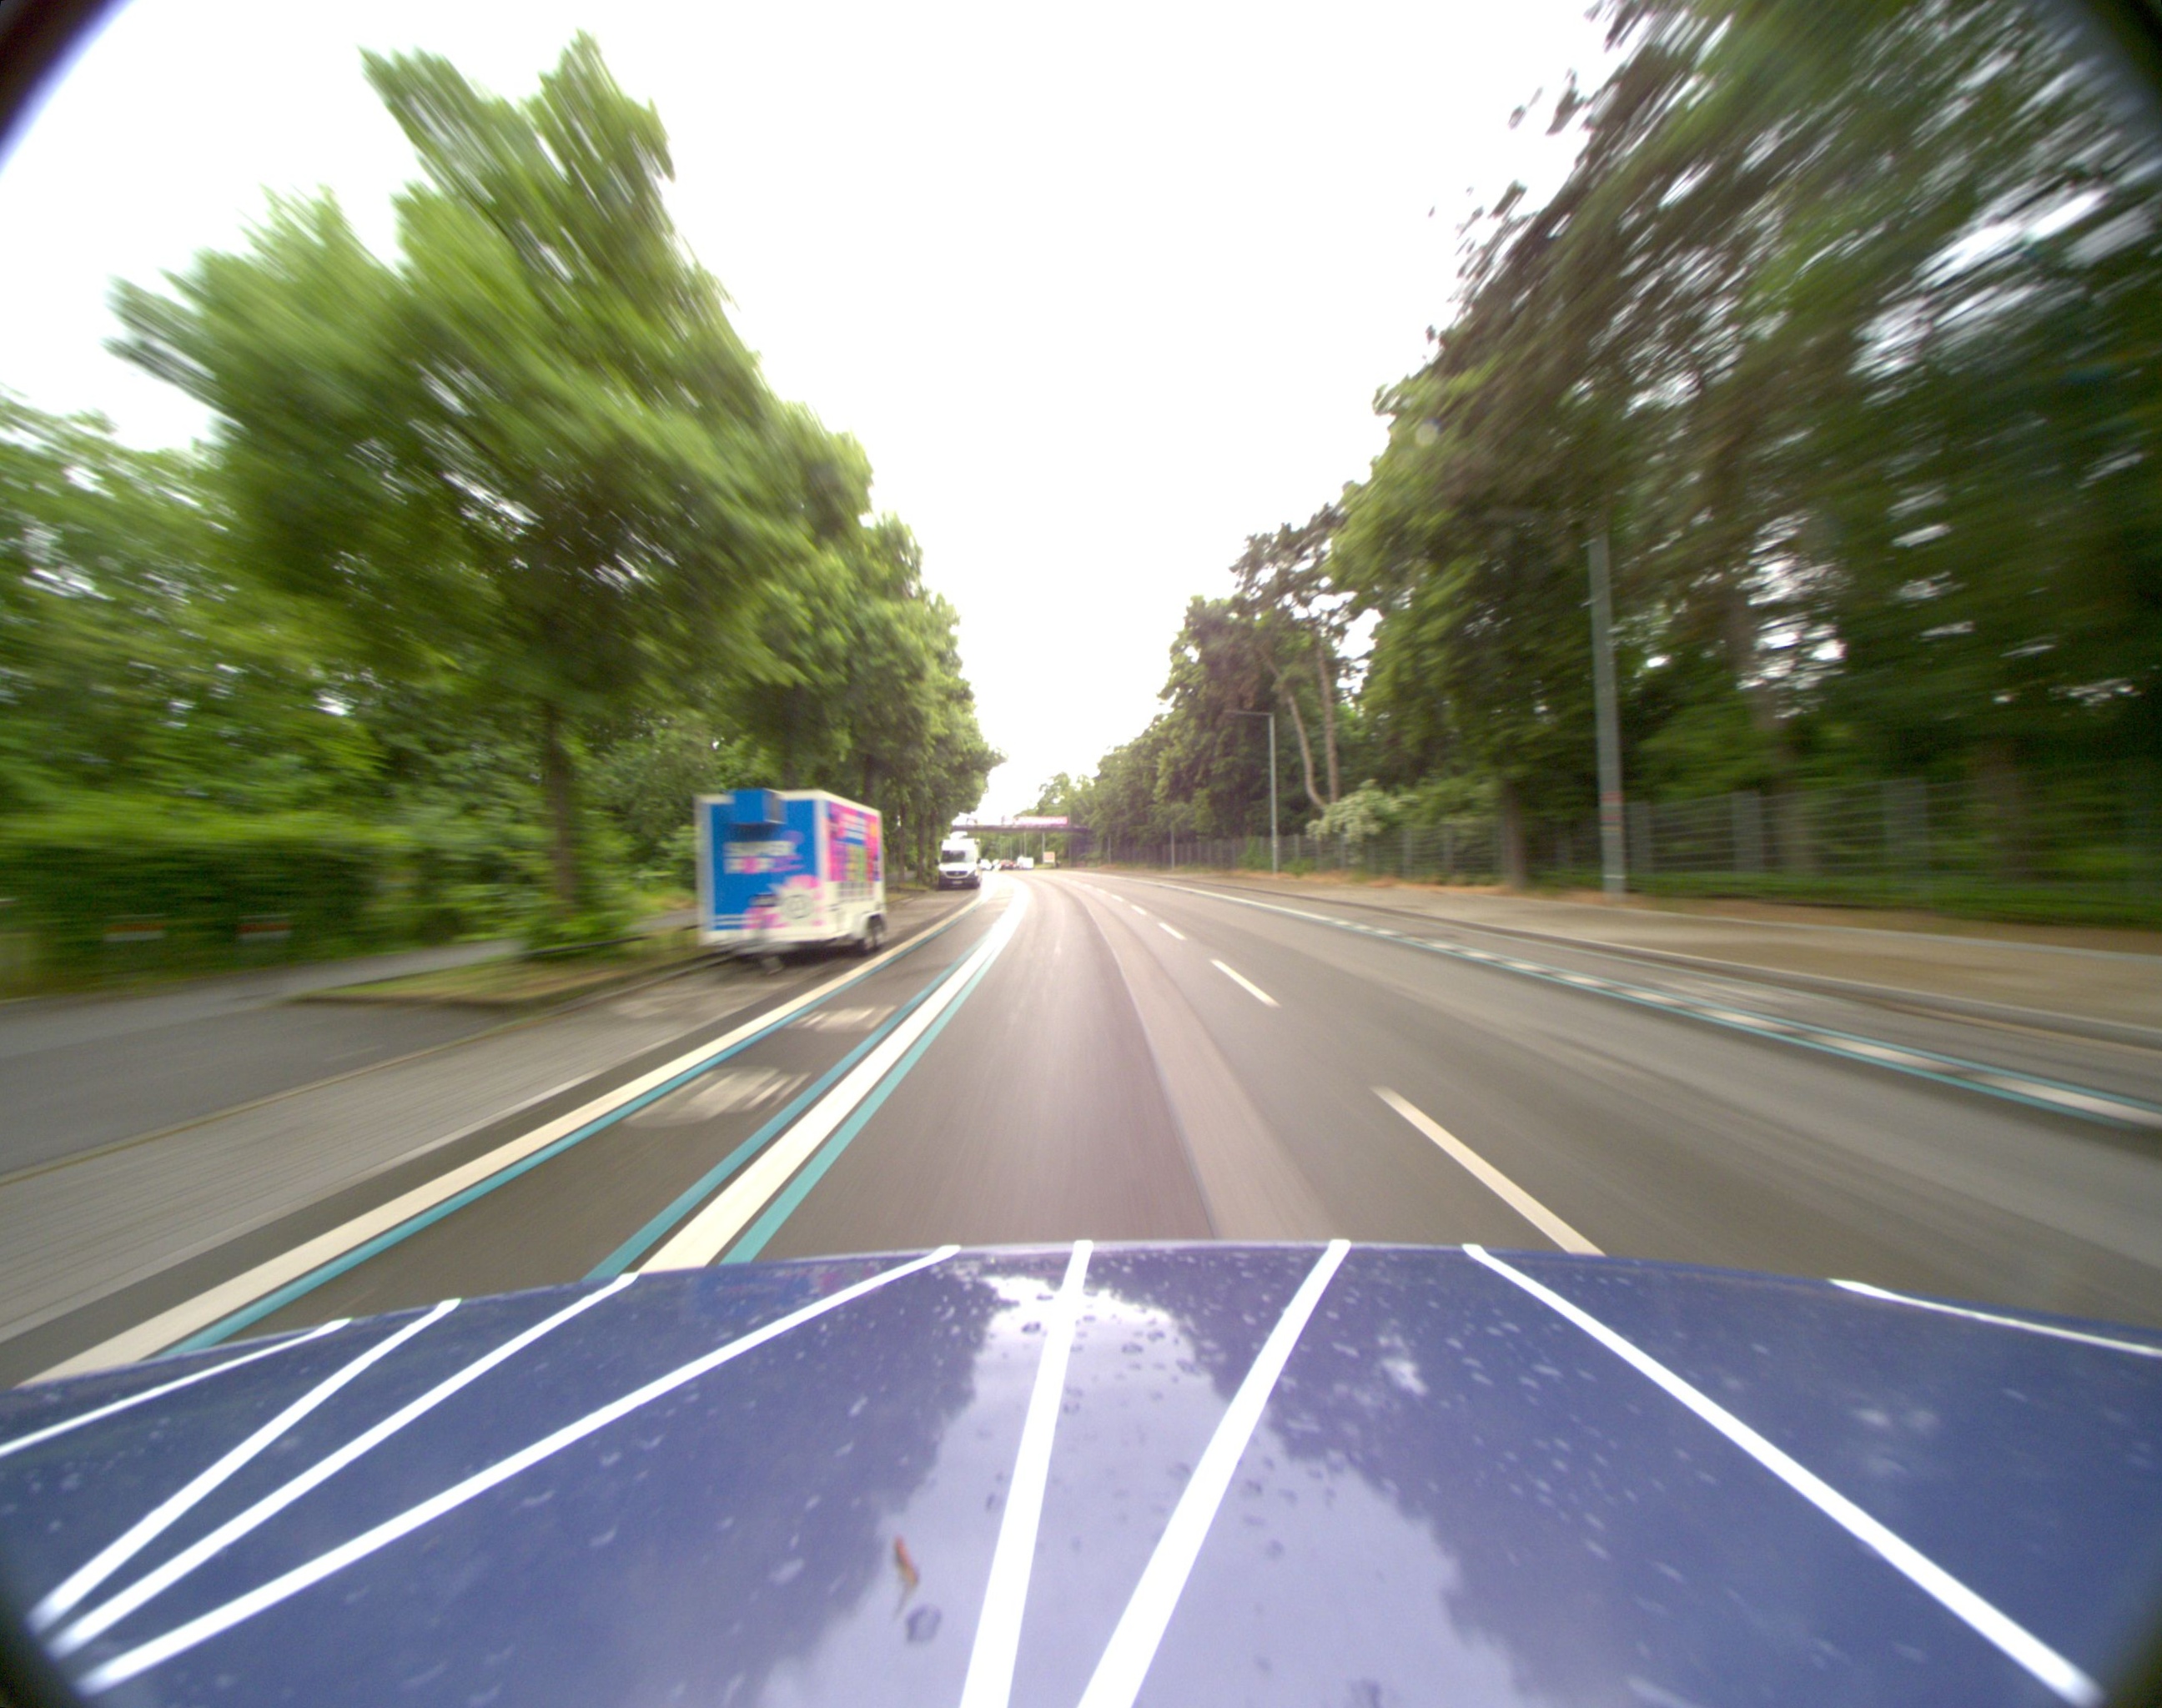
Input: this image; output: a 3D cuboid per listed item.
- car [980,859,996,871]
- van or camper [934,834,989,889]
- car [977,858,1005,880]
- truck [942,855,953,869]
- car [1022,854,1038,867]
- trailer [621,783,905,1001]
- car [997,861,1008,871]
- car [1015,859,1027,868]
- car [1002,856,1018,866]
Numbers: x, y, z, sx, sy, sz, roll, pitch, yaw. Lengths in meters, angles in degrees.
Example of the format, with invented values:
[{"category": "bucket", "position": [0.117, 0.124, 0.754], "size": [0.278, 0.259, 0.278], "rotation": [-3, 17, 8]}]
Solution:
[{"category": "car", "position": [-12.931, 1.537, 105.843], "size": [1.830, 1.453, 3.879], "rotation": [-3, -1, -12]}, {"category": "van or camper", "position": [-6.369, 0.372, 41.256], "size": [2.323, 2.649, 6.379], "rotation": [-2, 0, -4]}, {"category": "car", "position": [-6.291, 1.025, 52.875], "size": [1.684, 1.368, 3.996], "rotation": [-2, 1, -10]}, {"category": "truck", "position": [-22.635, 1.349, 128.749], "size": [1.725, 2.319, 3.997], "rotation": [-2, -1, -12]}, {"category": "car", "position": [-8.164, 1.096, 121.652], "size": [1.985, 1.902, 5.224], "rotation": [-1, -2, -9]}, {"category": "trailer", "position": [-4.625, 0.466, 12.273], "size": [2.322, 2.656, 5.375], "rotation": [-2, 0, -2]}, {"category": "car", "position": [-17.279, 2.607, 167.219], "size": [1.879, 1.965, 4.731], "rotation": [0, -2, -13]}, {"category": "car", "position": [-10.612, 1.745, 135.241], "size": [1.614, 1.437, 4.035], "rotation": [0, -2, -12]}, {"category": "car", "position": [-10.273, 0.993, 109.337], "size": [1.766, 1.428, 4.146], "rotation": [-2, 0, -12]}]
